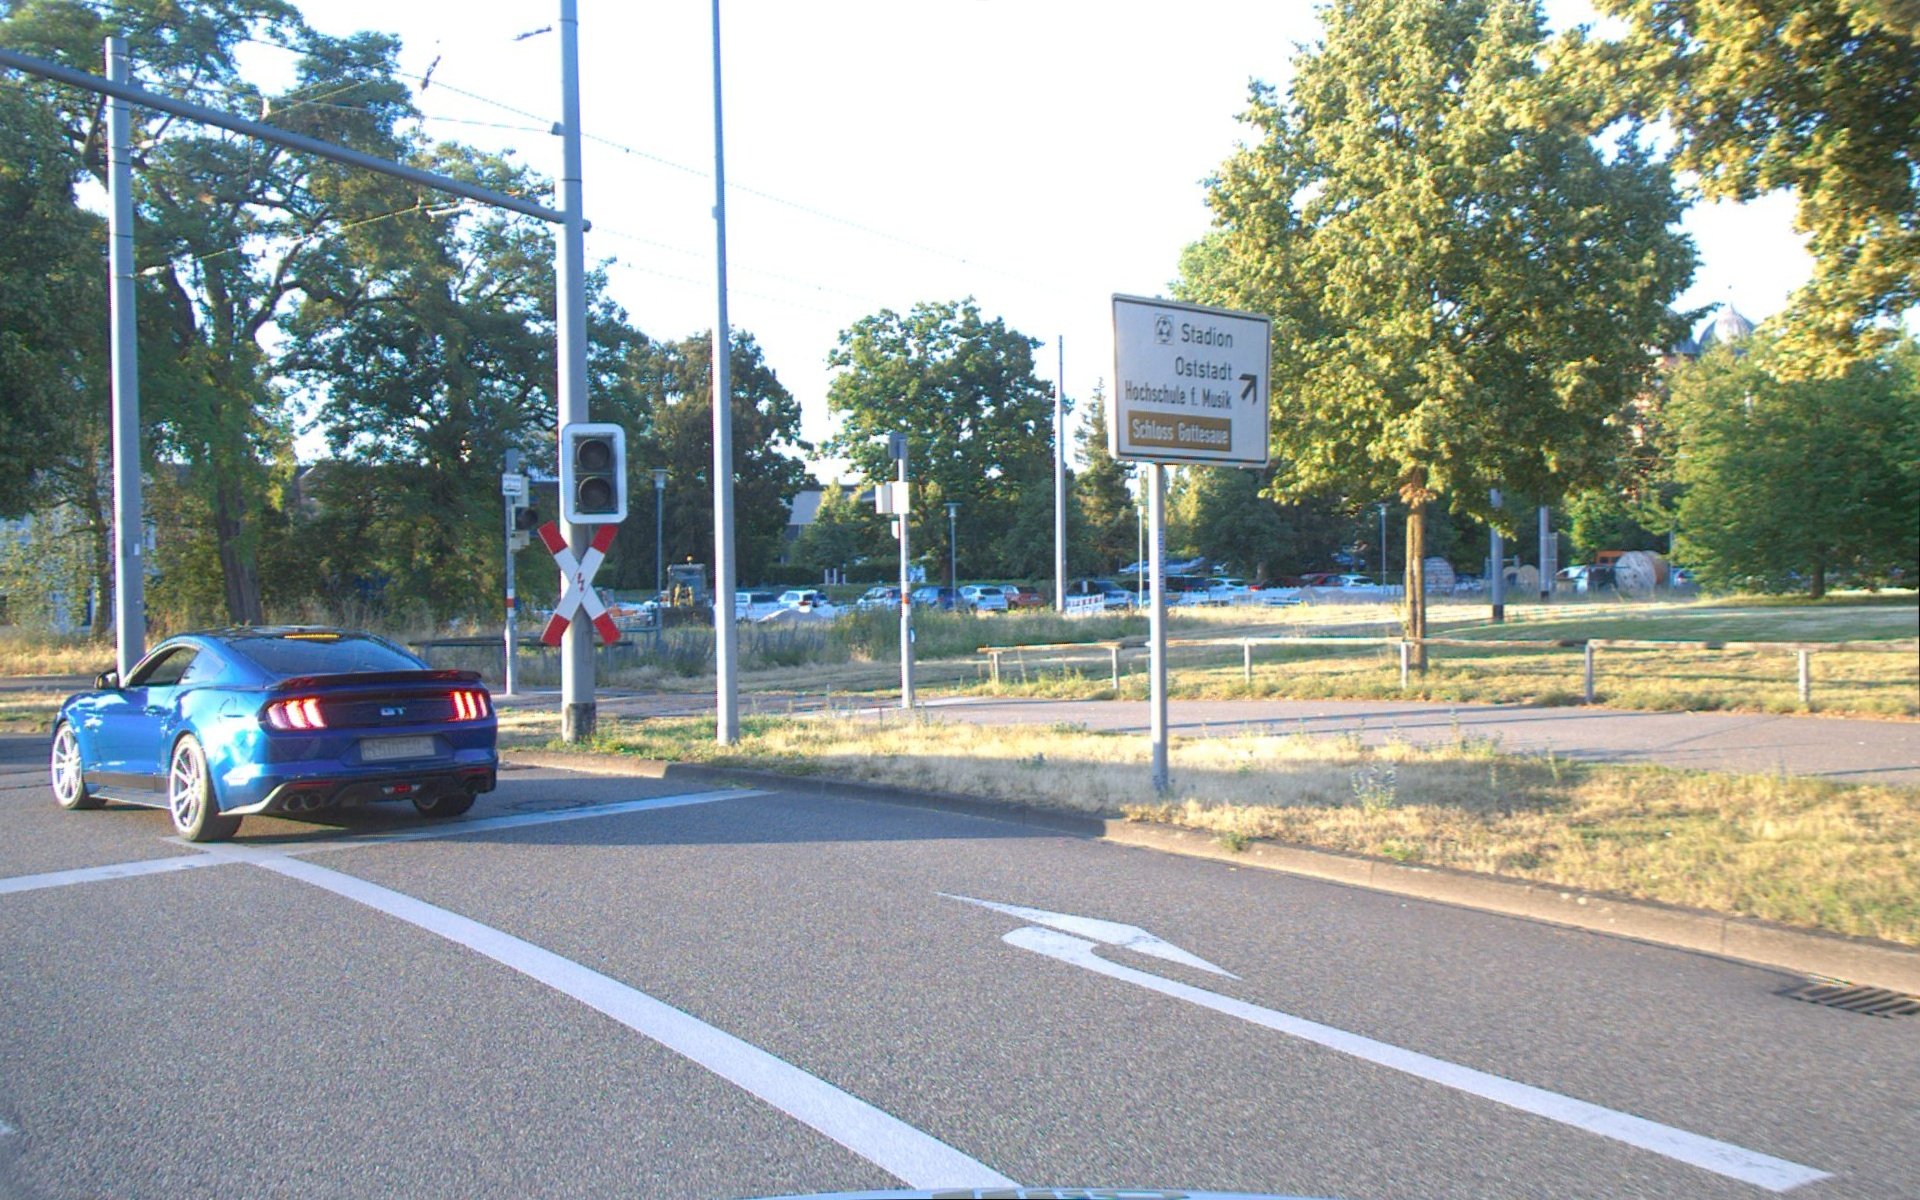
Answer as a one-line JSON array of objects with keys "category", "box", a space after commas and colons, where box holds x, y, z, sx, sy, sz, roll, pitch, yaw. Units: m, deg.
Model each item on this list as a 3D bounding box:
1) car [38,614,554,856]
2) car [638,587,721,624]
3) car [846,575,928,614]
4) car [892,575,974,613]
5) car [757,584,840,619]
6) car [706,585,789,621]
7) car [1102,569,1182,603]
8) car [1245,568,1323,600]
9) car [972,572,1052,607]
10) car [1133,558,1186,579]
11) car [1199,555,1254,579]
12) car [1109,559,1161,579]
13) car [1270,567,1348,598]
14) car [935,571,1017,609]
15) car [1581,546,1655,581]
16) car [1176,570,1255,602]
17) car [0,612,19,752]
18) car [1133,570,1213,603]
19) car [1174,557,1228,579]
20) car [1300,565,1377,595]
[{"category": "car", "box": [-4.945, 0.802, 11.921, 1.942, 1.365, 4.596, -1, 0, -43]}, {"category": "car", "box": [-12.037, 0.244, 70.836, 1.931, 1.471, 3.949, -2, 0, -36]}, {"category": "car", "box": [-3.412, -0.242, 76.509, 1.931, 1.691, 3.949, -2, 0, -36]}, {"category": "car", "box": [-1.278, -0.264, 77.545, 1.931, 1.691, 3.949, -2, 0, -36]}, {"category": "car", "box": [-7.193, 0.083, 73.262, 1.931, 1.471, 3.949, -2, 0, -36]}, {"category": "car", "box": [-9.318, 0.150, 72.230, 1.931, 1.471, 3.949, -2, 0, -36]}, {"category": "car", "box": [9.204, -0.698, 84.035, 1.882, 1.581, 3.949, -2, 0, -36]}, {"category": "car", "box": [17.440, -0.860, 89.189, 1.882, 1.581, 3.949, -2, 0, -36]}, {"category": "car", "box": [2.516, -0.496, 80.530, 1.882, 1.581, 3.949, -2, 0, -36]}, {"category": "car", "box": [16.192, -2.578, 134.255, 3.950, 1.581, 1.882, -2, 0, -33]}, {"category": "car", "box": [20.483, -2.567, 127.190, 3.952, 1.775, 1.977, -2, 1, -34]}, {"category": "car", "box": [14.491, -2.560, 136.742, 3.950, 1.581, 1.882, -2, 0, -33]}, {"category": "car", "box": [19.103, -0.954, 90.554, 1.882, 1.581, 3.949, -2, 0, -36]}, {"category": "car", "box": [0.720, -0.477, 78.529, 1.931, 1.691, 3.949, -2, 0, -36]}, {"category": "car", "box": [41.919, -2.322, 105.411, 1.882, 2.132, 3.949, -2, 0, -36]}, {"category": "car", "box": [13.377, -0.722, 86.787, 1.882, 1.581, 3.949, -2, 0, -36]}, {"category": "car", "box": [-12.241, 0.884, 17.620, 4.333, 1.452, 1.954, -1, 0, 30]}, {"category": "car", "box": [10.951, -0.687, 85.259, 1.882, 1.581, 3.949, -2, 0, -36]}, {"category": "car", "box": [18.974, -2.503, 130.387, 3.950, 1.581, 1.882, -2, 0, -33]}, {"category": "car", "box": [21.038, -1.102, 92.036, 1.882, 1.581, 3.949, -2, 0, -36]}]
